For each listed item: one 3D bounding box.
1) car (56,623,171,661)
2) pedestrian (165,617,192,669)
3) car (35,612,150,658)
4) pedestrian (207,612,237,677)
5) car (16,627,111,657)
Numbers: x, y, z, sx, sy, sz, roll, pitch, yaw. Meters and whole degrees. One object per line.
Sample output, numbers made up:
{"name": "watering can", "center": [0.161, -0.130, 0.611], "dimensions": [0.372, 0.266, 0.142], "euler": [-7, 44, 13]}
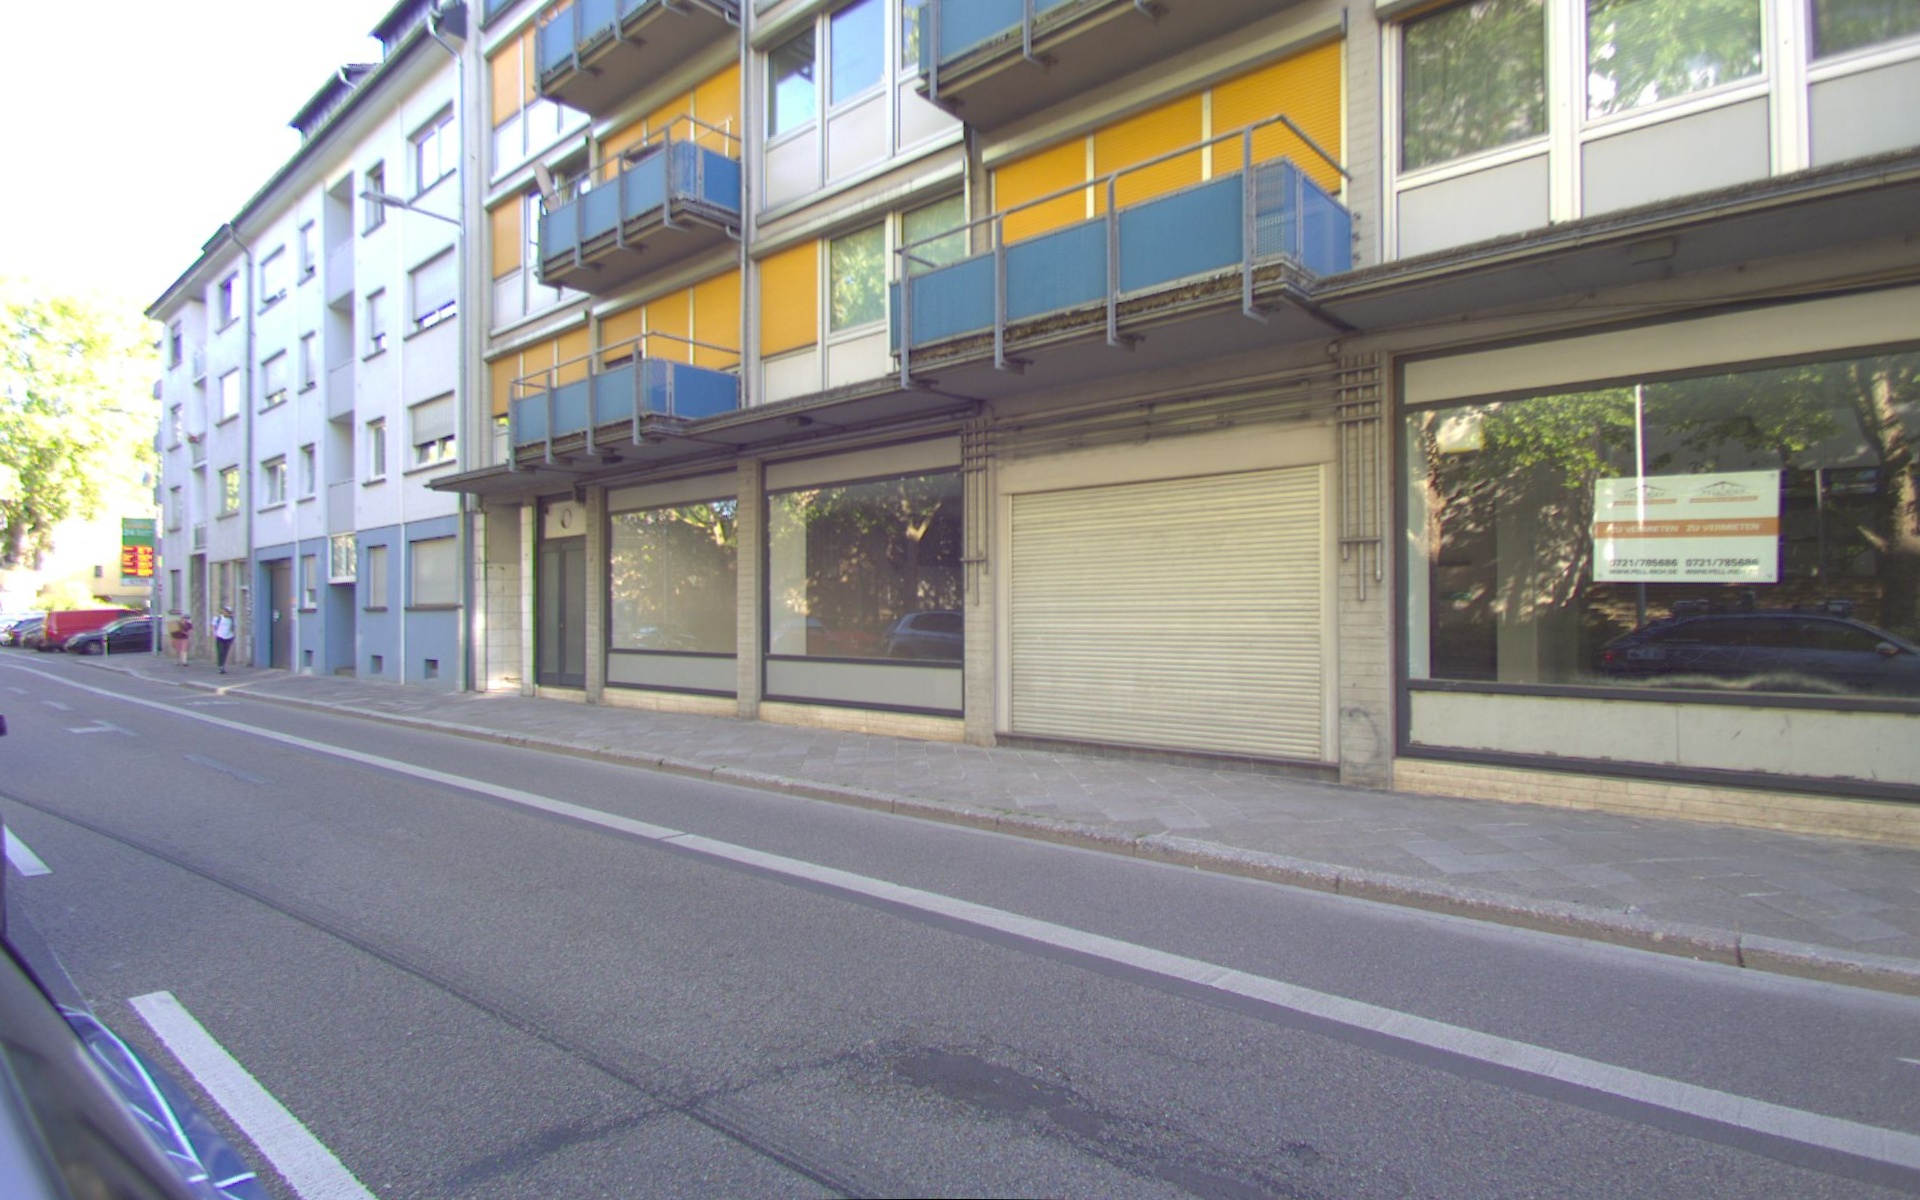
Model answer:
{"name": "car", "center": [-36.644, 1.772, 43.861], "dimensions": [1.635, 1.422, 3.623], "euler": [-1, 0, 41]}
{"name": "pedestrian", "center": [-23.489, 1.294, 30.424], "dimensions": [0.343, 1.529, 0.562], "euler": [-2, 0, 41]}
{"name": "car", "center": [-40.543, 1.585, 47.364], "dimensions": [1.635, 1.937, 3.878], "euler": [-1, 0, 41]}
{"name": "pedestrian", "center": [-20.105, 1.208, 27.569], "dimensions": [0.343, 1.739, 0.562], "euler": [-2, 0, 41]}
{"name": "car", "center": [-42.989, 2.003, 48.580], "dimensions": [1.294, 1.258, 3.283], "euler": [-1, 0, 41]}
